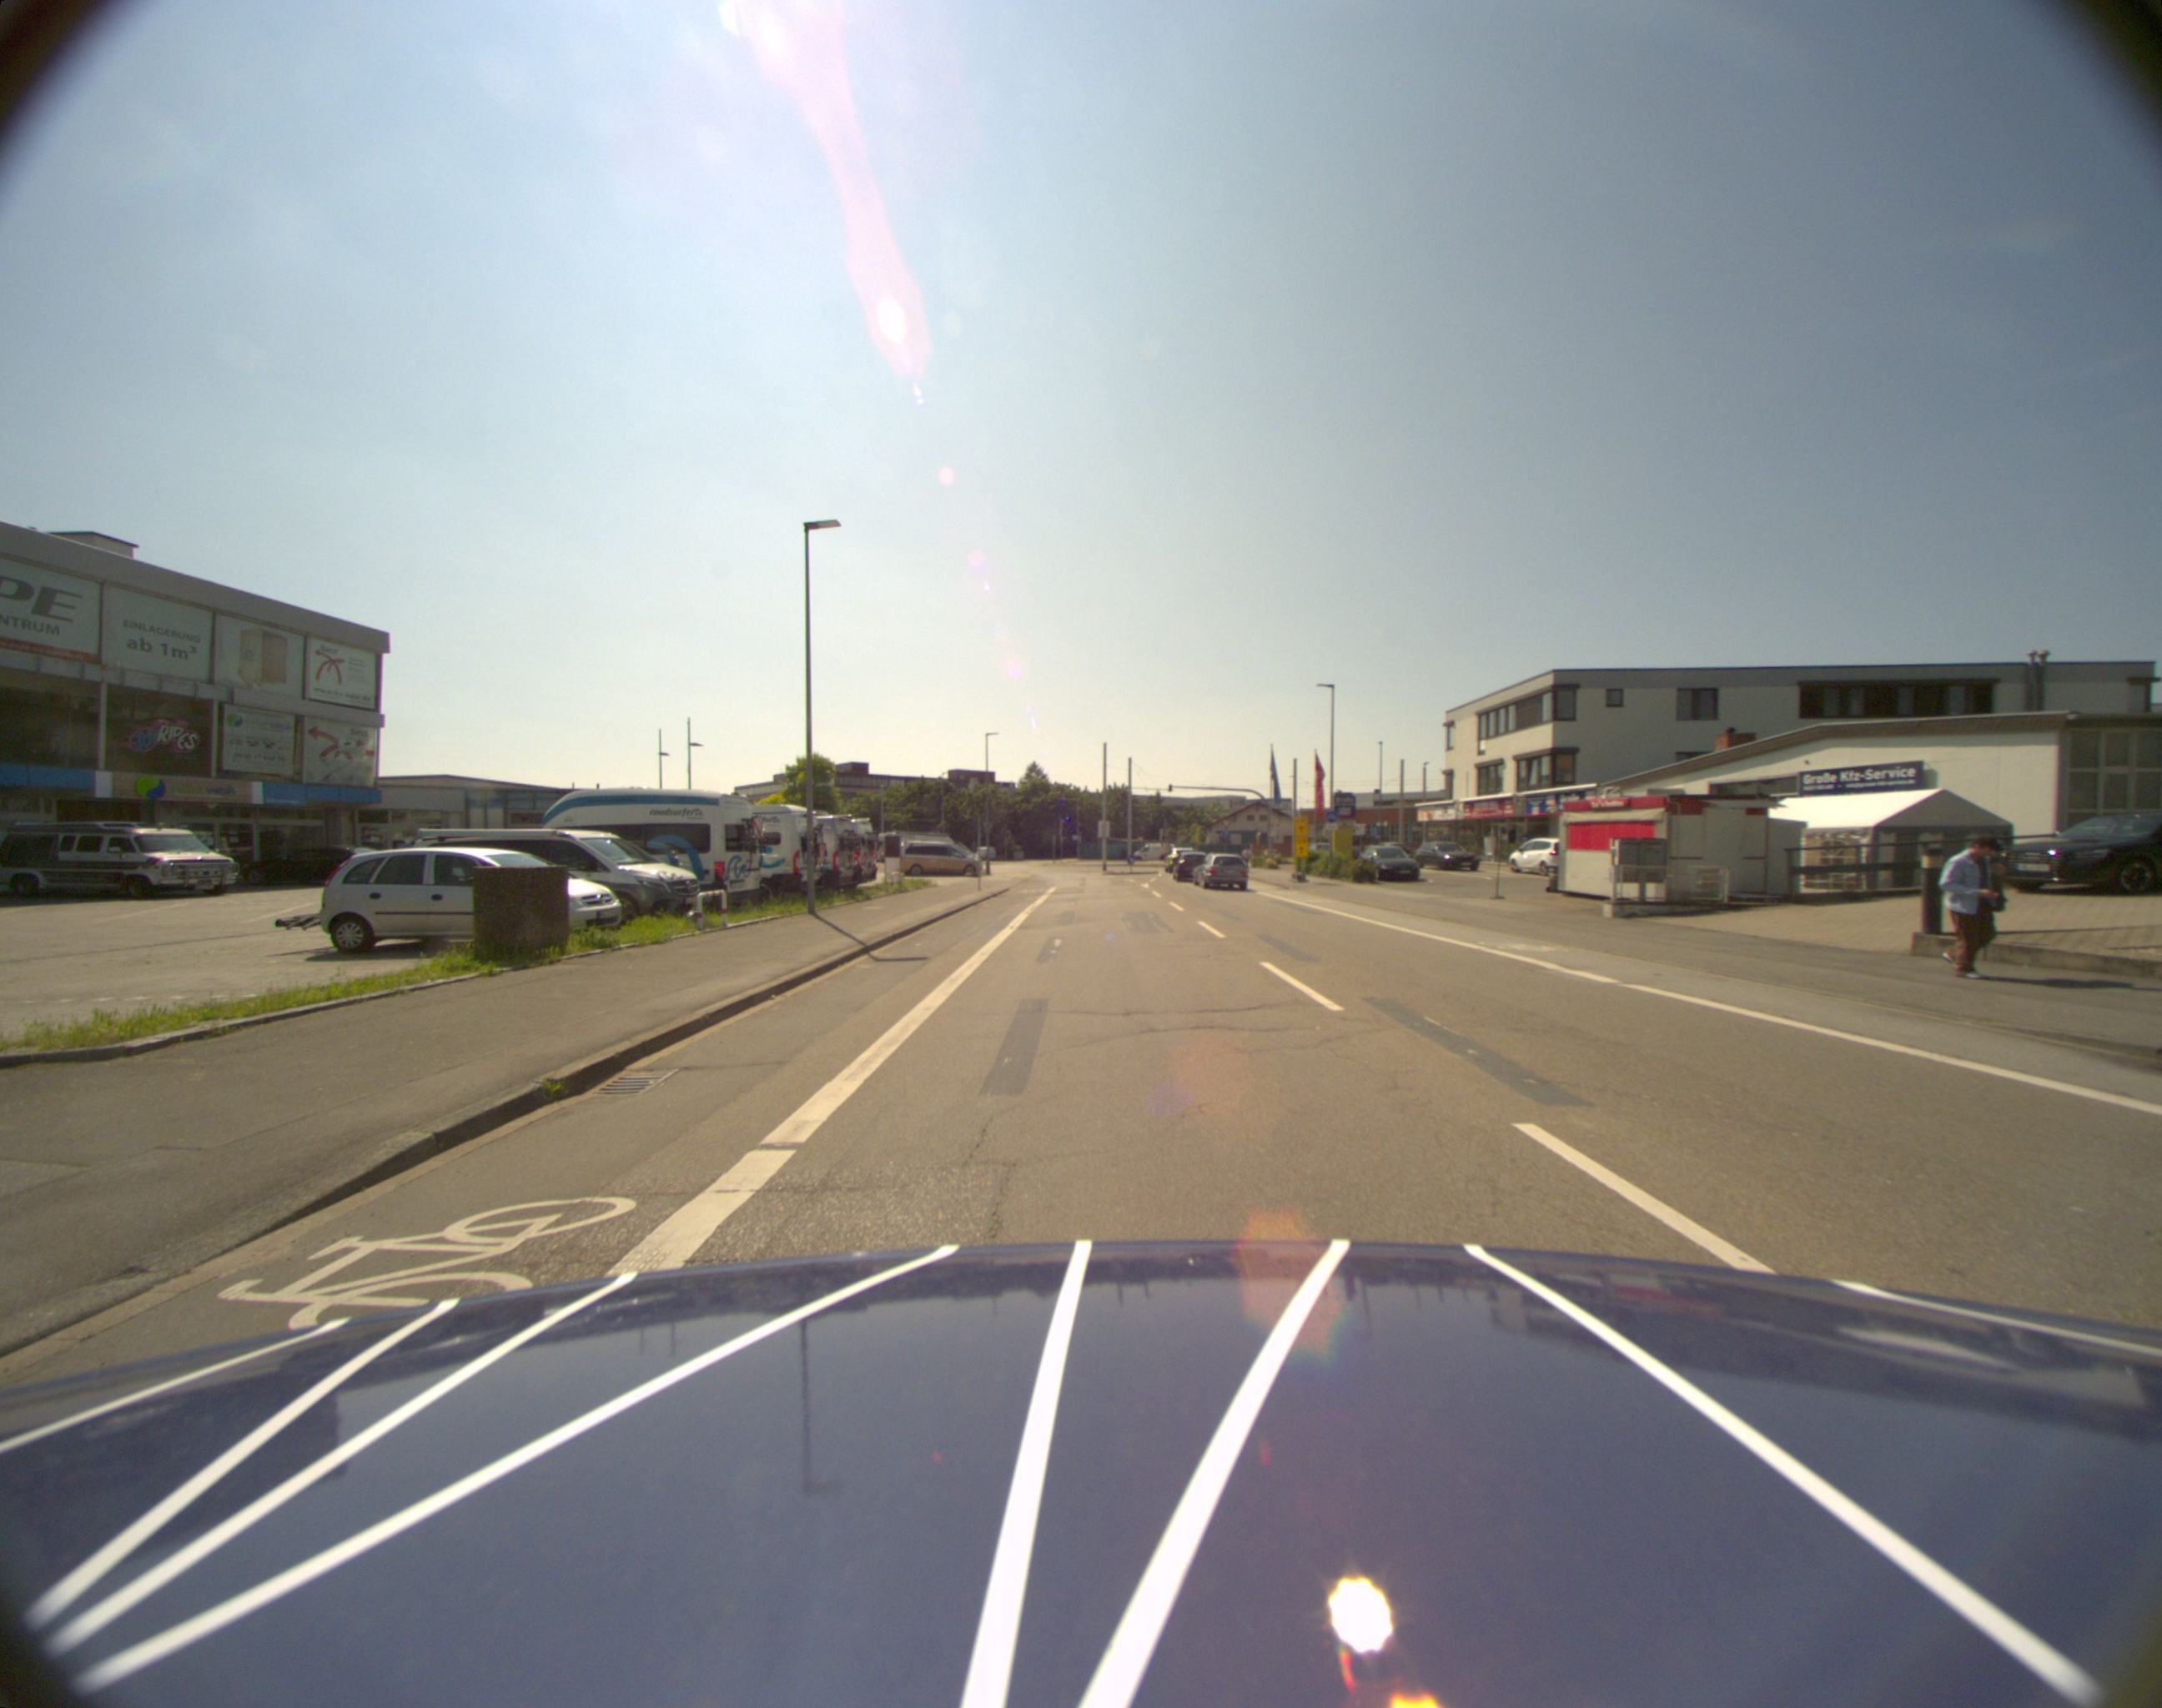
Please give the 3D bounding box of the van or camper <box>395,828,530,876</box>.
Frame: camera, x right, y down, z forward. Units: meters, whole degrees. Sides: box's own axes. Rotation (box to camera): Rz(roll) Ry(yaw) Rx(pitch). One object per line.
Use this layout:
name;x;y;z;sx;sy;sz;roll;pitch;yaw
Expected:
van or camper;-27.575;-0.131;34.163;2.123;2.002;5.112;0;1;-5

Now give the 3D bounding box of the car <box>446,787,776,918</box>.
car;-10.712;-0.039;17.730;6.243;2.853;2.320;0;1;1

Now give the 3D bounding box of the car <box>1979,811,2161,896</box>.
car;20.506;-0.044;14.649;3.996;1.516;1.897;-1;1;3

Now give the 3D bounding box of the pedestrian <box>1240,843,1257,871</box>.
pedestrian;10.284;0.179;46.697;0.995;1.676;0.800;0;1;12

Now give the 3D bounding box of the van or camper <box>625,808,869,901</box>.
van or camper;-10.160;0.008;23.612;6.365;2.701;2.712;0;1;1

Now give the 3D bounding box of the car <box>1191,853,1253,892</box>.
car;5.693;0.686;31.164;1.746;1.396;4.324;1;1;1

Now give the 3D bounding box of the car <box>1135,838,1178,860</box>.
car;8.727;-0.611;87.913;4.422;1.938;2.000;7;9;29

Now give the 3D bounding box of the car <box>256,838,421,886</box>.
car;-27.821;0.274;28.598;4.117;1.723;1.999;0;1;-3

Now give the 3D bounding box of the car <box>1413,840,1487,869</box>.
car;18.919;-0.005;39.170;1.911;1.413;4.419;0;1;4

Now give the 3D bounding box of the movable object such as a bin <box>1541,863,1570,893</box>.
movable object such as a bin;15.167;0.765;24.298;0.572;0.917;0.690;-2;0;14

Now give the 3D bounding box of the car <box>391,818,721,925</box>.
car;-10.328;0.310;15.254;5.247;1.941;2.000;1;1;0

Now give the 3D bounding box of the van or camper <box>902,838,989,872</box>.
van or camper;-8.512;0.059;47.751;4.990;2.034;2.037;0;2;-29

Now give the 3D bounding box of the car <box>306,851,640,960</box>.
car;-9.683;0.775;12.344;3.931;1.584;1.798;-1;1;1

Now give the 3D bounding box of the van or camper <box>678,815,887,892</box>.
van or camper;-10.176;-0.032;26.354;6.211;2.510;2.618;0;1;1

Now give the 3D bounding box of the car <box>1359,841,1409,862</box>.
car;20.427;-0.197;51.417;1.911;1.380;4.485;0;1;4

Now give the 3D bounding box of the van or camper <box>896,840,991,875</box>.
van or camper;-8.113;0.216;44.952;5.145;1.950;1.981;0;2;-29

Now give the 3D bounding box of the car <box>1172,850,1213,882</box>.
car;5.430;0.545;37.336;1.664;1.446;4.241;1;1;4

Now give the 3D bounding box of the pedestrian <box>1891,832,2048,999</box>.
pedestrian;10.270;0.675;8.824;0.725;1.838;0.911;0;1;1

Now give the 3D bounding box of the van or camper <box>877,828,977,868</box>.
van or camper;-10.747;-0.428;53.215;6.375;2.621;2.526;-1;1;-35

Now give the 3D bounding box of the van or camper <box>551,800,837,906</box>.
van or camper;-10.294;-0.033;20.682;6.365;2.685;2.712;0;1;1

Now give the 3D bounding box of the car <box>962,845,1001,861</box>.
car;-13.610;-0.125;103.699;5.516;2.121;2.217;0;1;41

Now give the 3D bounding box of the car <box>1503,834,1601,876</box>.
car;21.219;-0.005;34.474;1.911;1.699;4.478;0;3;5

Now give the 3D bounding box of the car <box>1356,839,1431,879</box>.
car;14.089;0.205;34.507;1.909;1.705;4.000;0;1;3

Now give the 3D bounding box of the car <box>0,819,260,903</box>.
car;-28.607;0.193;22.833;5.310;2.405;2.325;0;1;1

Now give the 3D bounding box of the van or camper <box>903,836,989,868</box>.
van or camper;-9.003;-0.151;50.846;5.148;2.064;2.446;-1;1;-31

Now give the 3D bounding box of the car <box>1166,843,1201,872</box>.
car;6.429;0.190;48.104;1.897;1.748;4.354;0;1;4
